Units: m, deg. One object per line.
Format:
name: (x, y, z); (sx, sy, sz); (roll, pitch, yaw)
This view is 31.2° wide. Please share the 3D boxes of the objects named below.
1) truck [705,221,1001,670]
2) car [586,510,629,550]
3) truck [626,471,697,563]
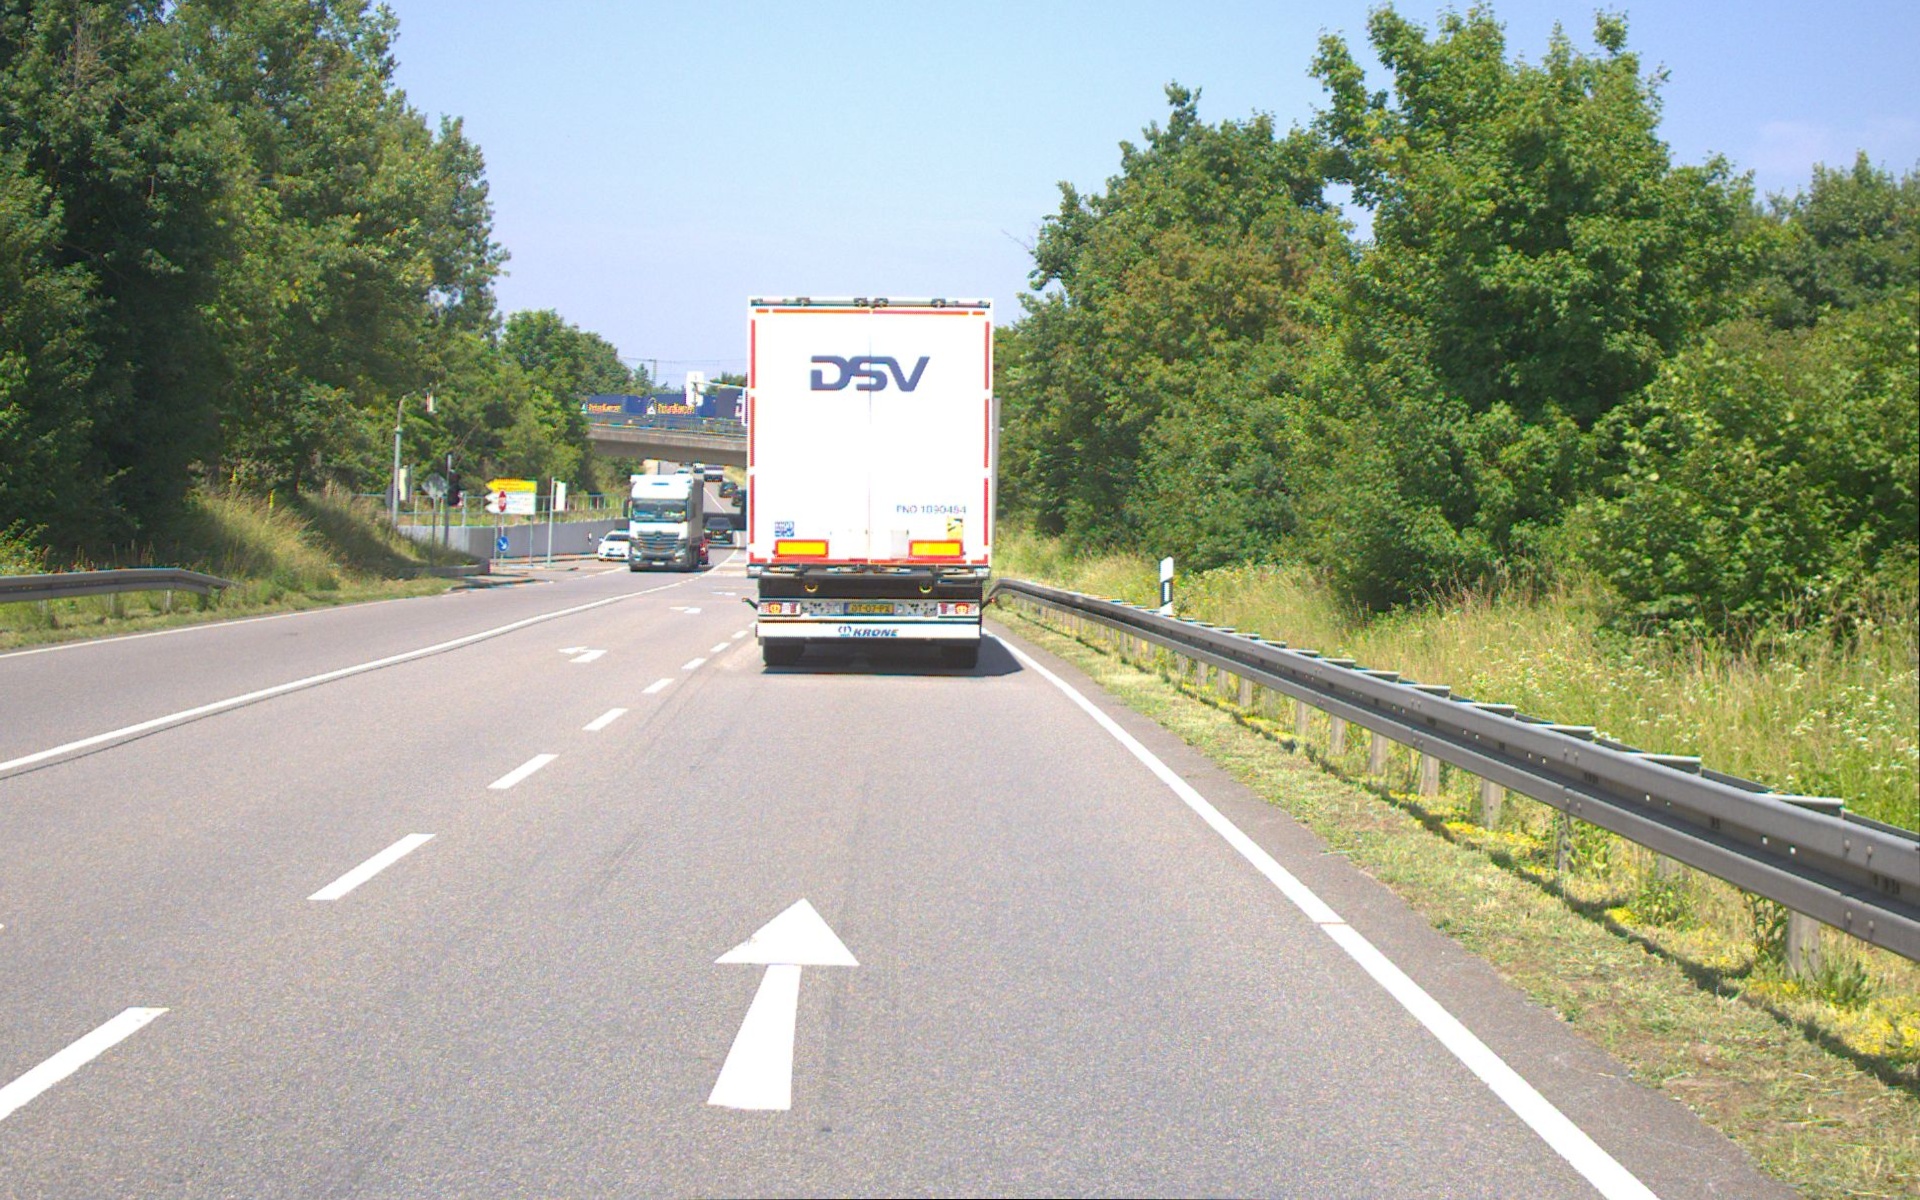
truck: (-1.160, -1.677, 40.262); (2.950, 4.553, 9.863); (1, 1, -1)
car: (-17.070, -3.395, 166.542); (1.801, 1.865, 4.420); (1, 2, -2)
truck: (-12.714, -3.584, 147.280); (2.353, 3.737, 12.627); (1, 2, -2)
